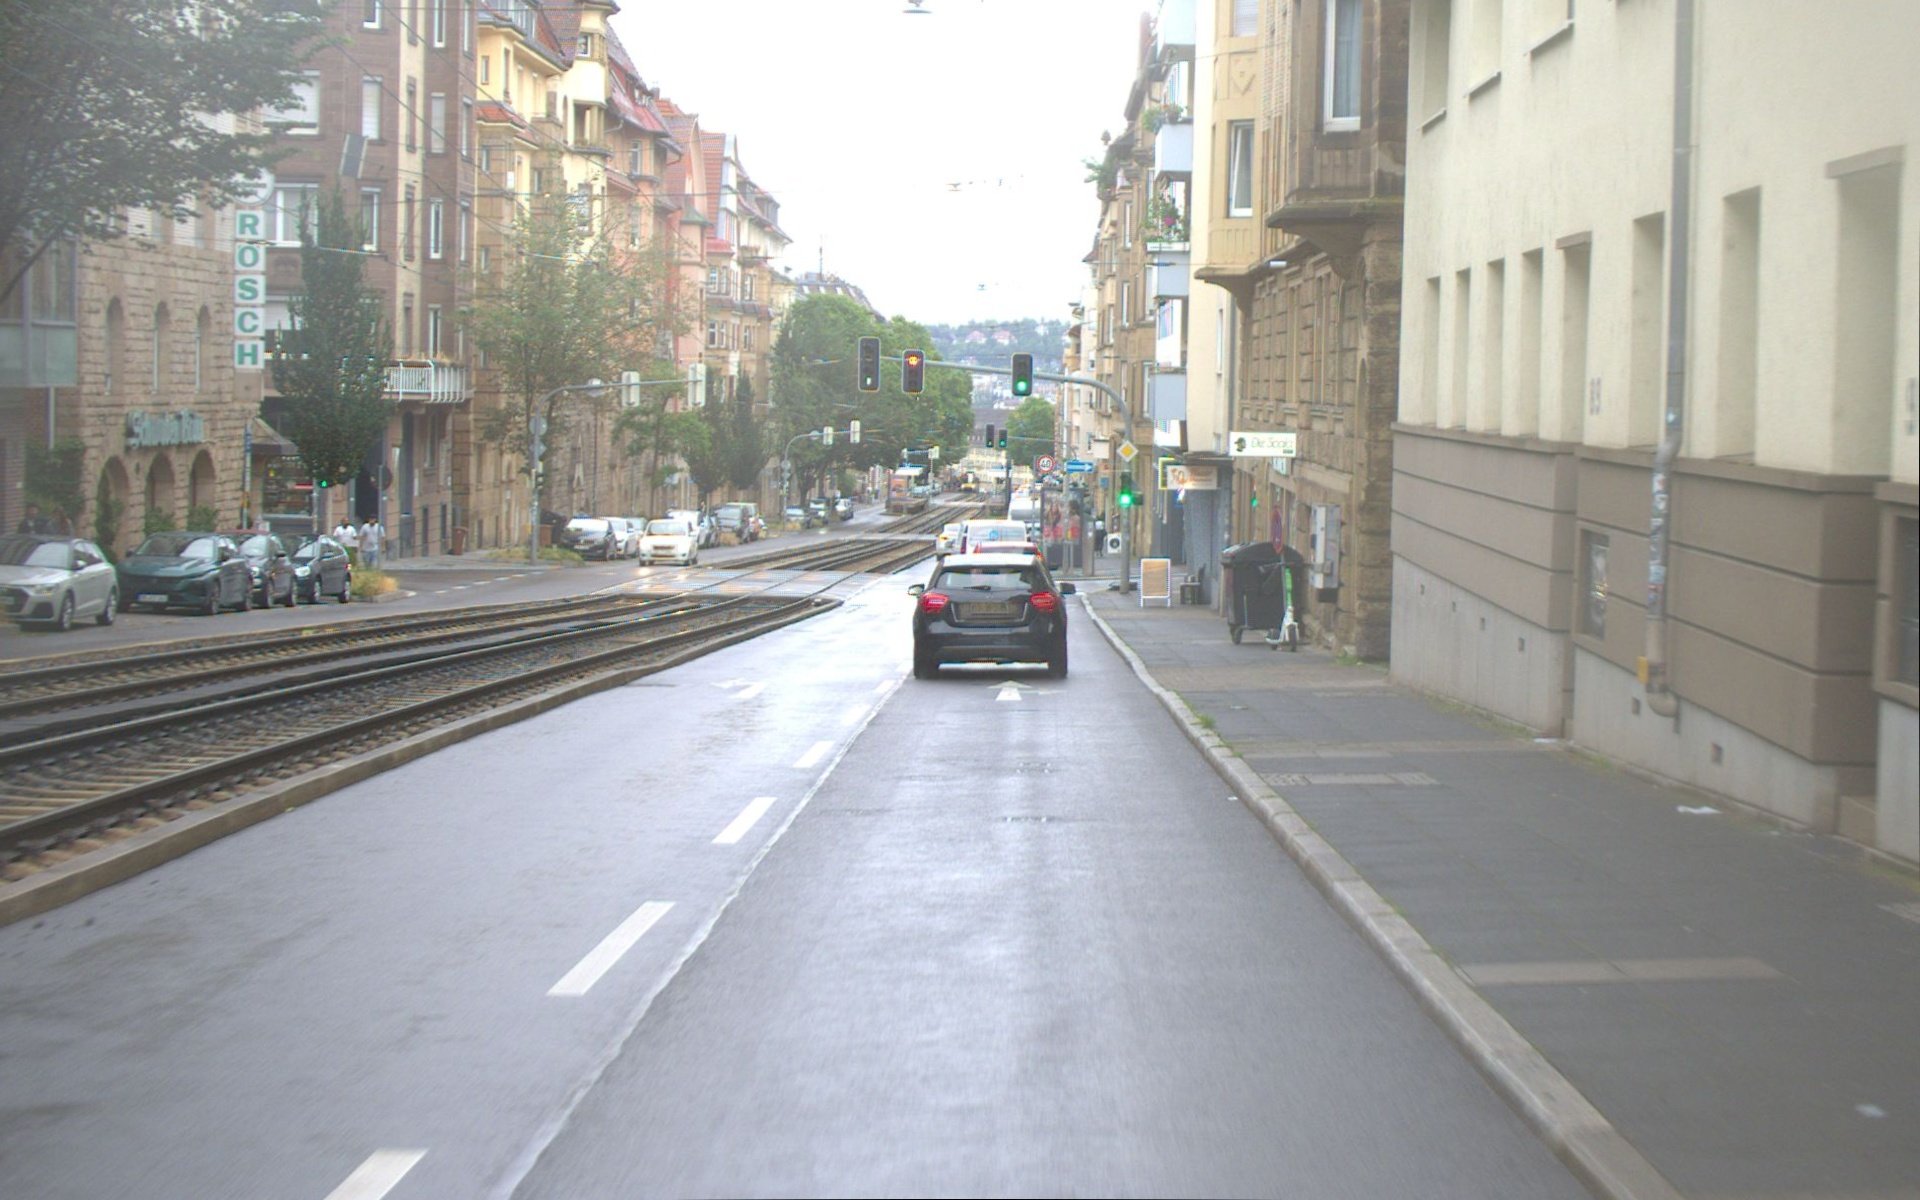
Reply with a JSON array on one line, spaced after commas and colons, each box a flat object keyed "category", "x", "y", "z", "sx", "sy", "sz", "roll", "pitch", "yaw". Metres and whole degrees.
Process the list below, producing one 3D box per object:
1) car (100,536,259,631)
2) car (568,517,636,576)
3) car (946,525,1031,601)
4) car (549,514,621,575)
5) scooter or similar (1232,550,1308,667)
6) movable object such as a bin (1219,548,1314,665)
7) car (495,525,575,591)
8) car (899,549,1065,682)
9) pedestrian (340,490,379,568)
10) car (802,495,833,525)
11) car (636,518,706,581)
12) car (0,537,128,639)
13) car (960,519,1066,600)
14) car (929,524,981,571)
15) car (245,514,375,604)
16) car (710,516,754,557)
[{"category": "car", "x": -13.852, "y": -0.313, "z": 61.238, "sx": 1.773, "sy": 1.614, "sz": 4.255, "roll": -1, "pitch": 1, "yaw": 1}, {"category": "car", "x": -12.734, "y": -1.881, "z": 122.470, "sx": 1.993, "sy": 2.007, "sz": 4.347, "roll": -1, "pitch": 0, "yaw": -1}, {"category": "car", "x": 0.684, "y": -0.909, "z": 85.654, "sx": 1.948, "sy": 1.787, "sz": 4.144, "roll": 1, "pitch": 0, "yaw": -1}, {"category": "car", "x": -12.779, "y": -1.877, "z": 117.425, "sx": 1.993, "sy": 2.007, "sz": 4.347, "roll": -1, "pitch": 0, "yaw": -1}, {"category": "scooter or similar", "x": 4.305, "y": 0.113, "z": 47.758, "sx": 0.918, "sy": 1.599, "sz": 0.863, "roll": 1, "pitch": 1, "yaw": -3}, {"category": "movable object such as a bin", "x": 4.380, "y": 0.083, "z": 49.266, "sx": 1.167, "sy": 1.650, "sz": 1.309, "roll": -1, "pitch": 1, "yaw": -3}, {"category": "car", "x": -13.253, "y": -1.297, "z": 107.405, "sx": 1.993, "sy": 2.007, "sz": 4.347, "roll": -1, "pitch": 0, "yaw": -1}, {"category": "car", "x": 0.227, "y": 0.145, "z": 40.614, "sx": 1.851, "sy": 1.468, "sz": 4.000, "roll": 1, "pitch": 1, "yaw": -1}, {"category": "pedestrian", "x": -15.486, "y": -1.825, "z": 88.631, "sx": 0.871, "sy": 2.007, "sz": 0.704, "roll": -1, "pitch": 0, "yaw": -1}, {"category": "car", "x": -9.868, "y": -6.249, "z": 238.276, "sx": 1.993, "sy": 2.007, "sz": 4.000, "roll": 1, "pitch": 1, "yaw": -1}, {"category": "car", "x": -9.567, "y": -1.685, "z": 114.148, "sx": 1.993, "sy": 2.007, "sz": 4.347, "roll": 1, "pitch": 1, "yaw": -1}, {"category": "car", "x": -14.170, "y": -0.183, "z": 52.557, "sx": 1.773, "sy": 1.483, "sz": 4.255, "roll": -1, "pitch": 0, "yaw": 1}, {"category": "car", "x": 0.986, "y": -0.763, "z": 65.756, "sx": 1.851, "sy": 1.468, "sz": 4.000, "roll": 1, "pitch": 0, "yaw": -1}, {"category": "car", "x": -0.223, "y": -2.050, "z": 134.046, "sx": 1.948, "sy": 1.786, "sz": 4.144, "roll": 1, "pitch": 1, "yaw": -1}, {"category": "car", "x": -13.500, "y": -0.865, "z": 71.609, "sx": 1.863, "sy": 1.809, "sz": 4.000, "roll": 1, "pitch": 1, "yaw": 1}, {"category": "car", "x": -11.600, "y": -3.231, "z": 175.346, "sx": 1.993, "sy": 2.007, "sz": 4.000, "roll": -1, "pitch": 0, "yaw": -1}]
